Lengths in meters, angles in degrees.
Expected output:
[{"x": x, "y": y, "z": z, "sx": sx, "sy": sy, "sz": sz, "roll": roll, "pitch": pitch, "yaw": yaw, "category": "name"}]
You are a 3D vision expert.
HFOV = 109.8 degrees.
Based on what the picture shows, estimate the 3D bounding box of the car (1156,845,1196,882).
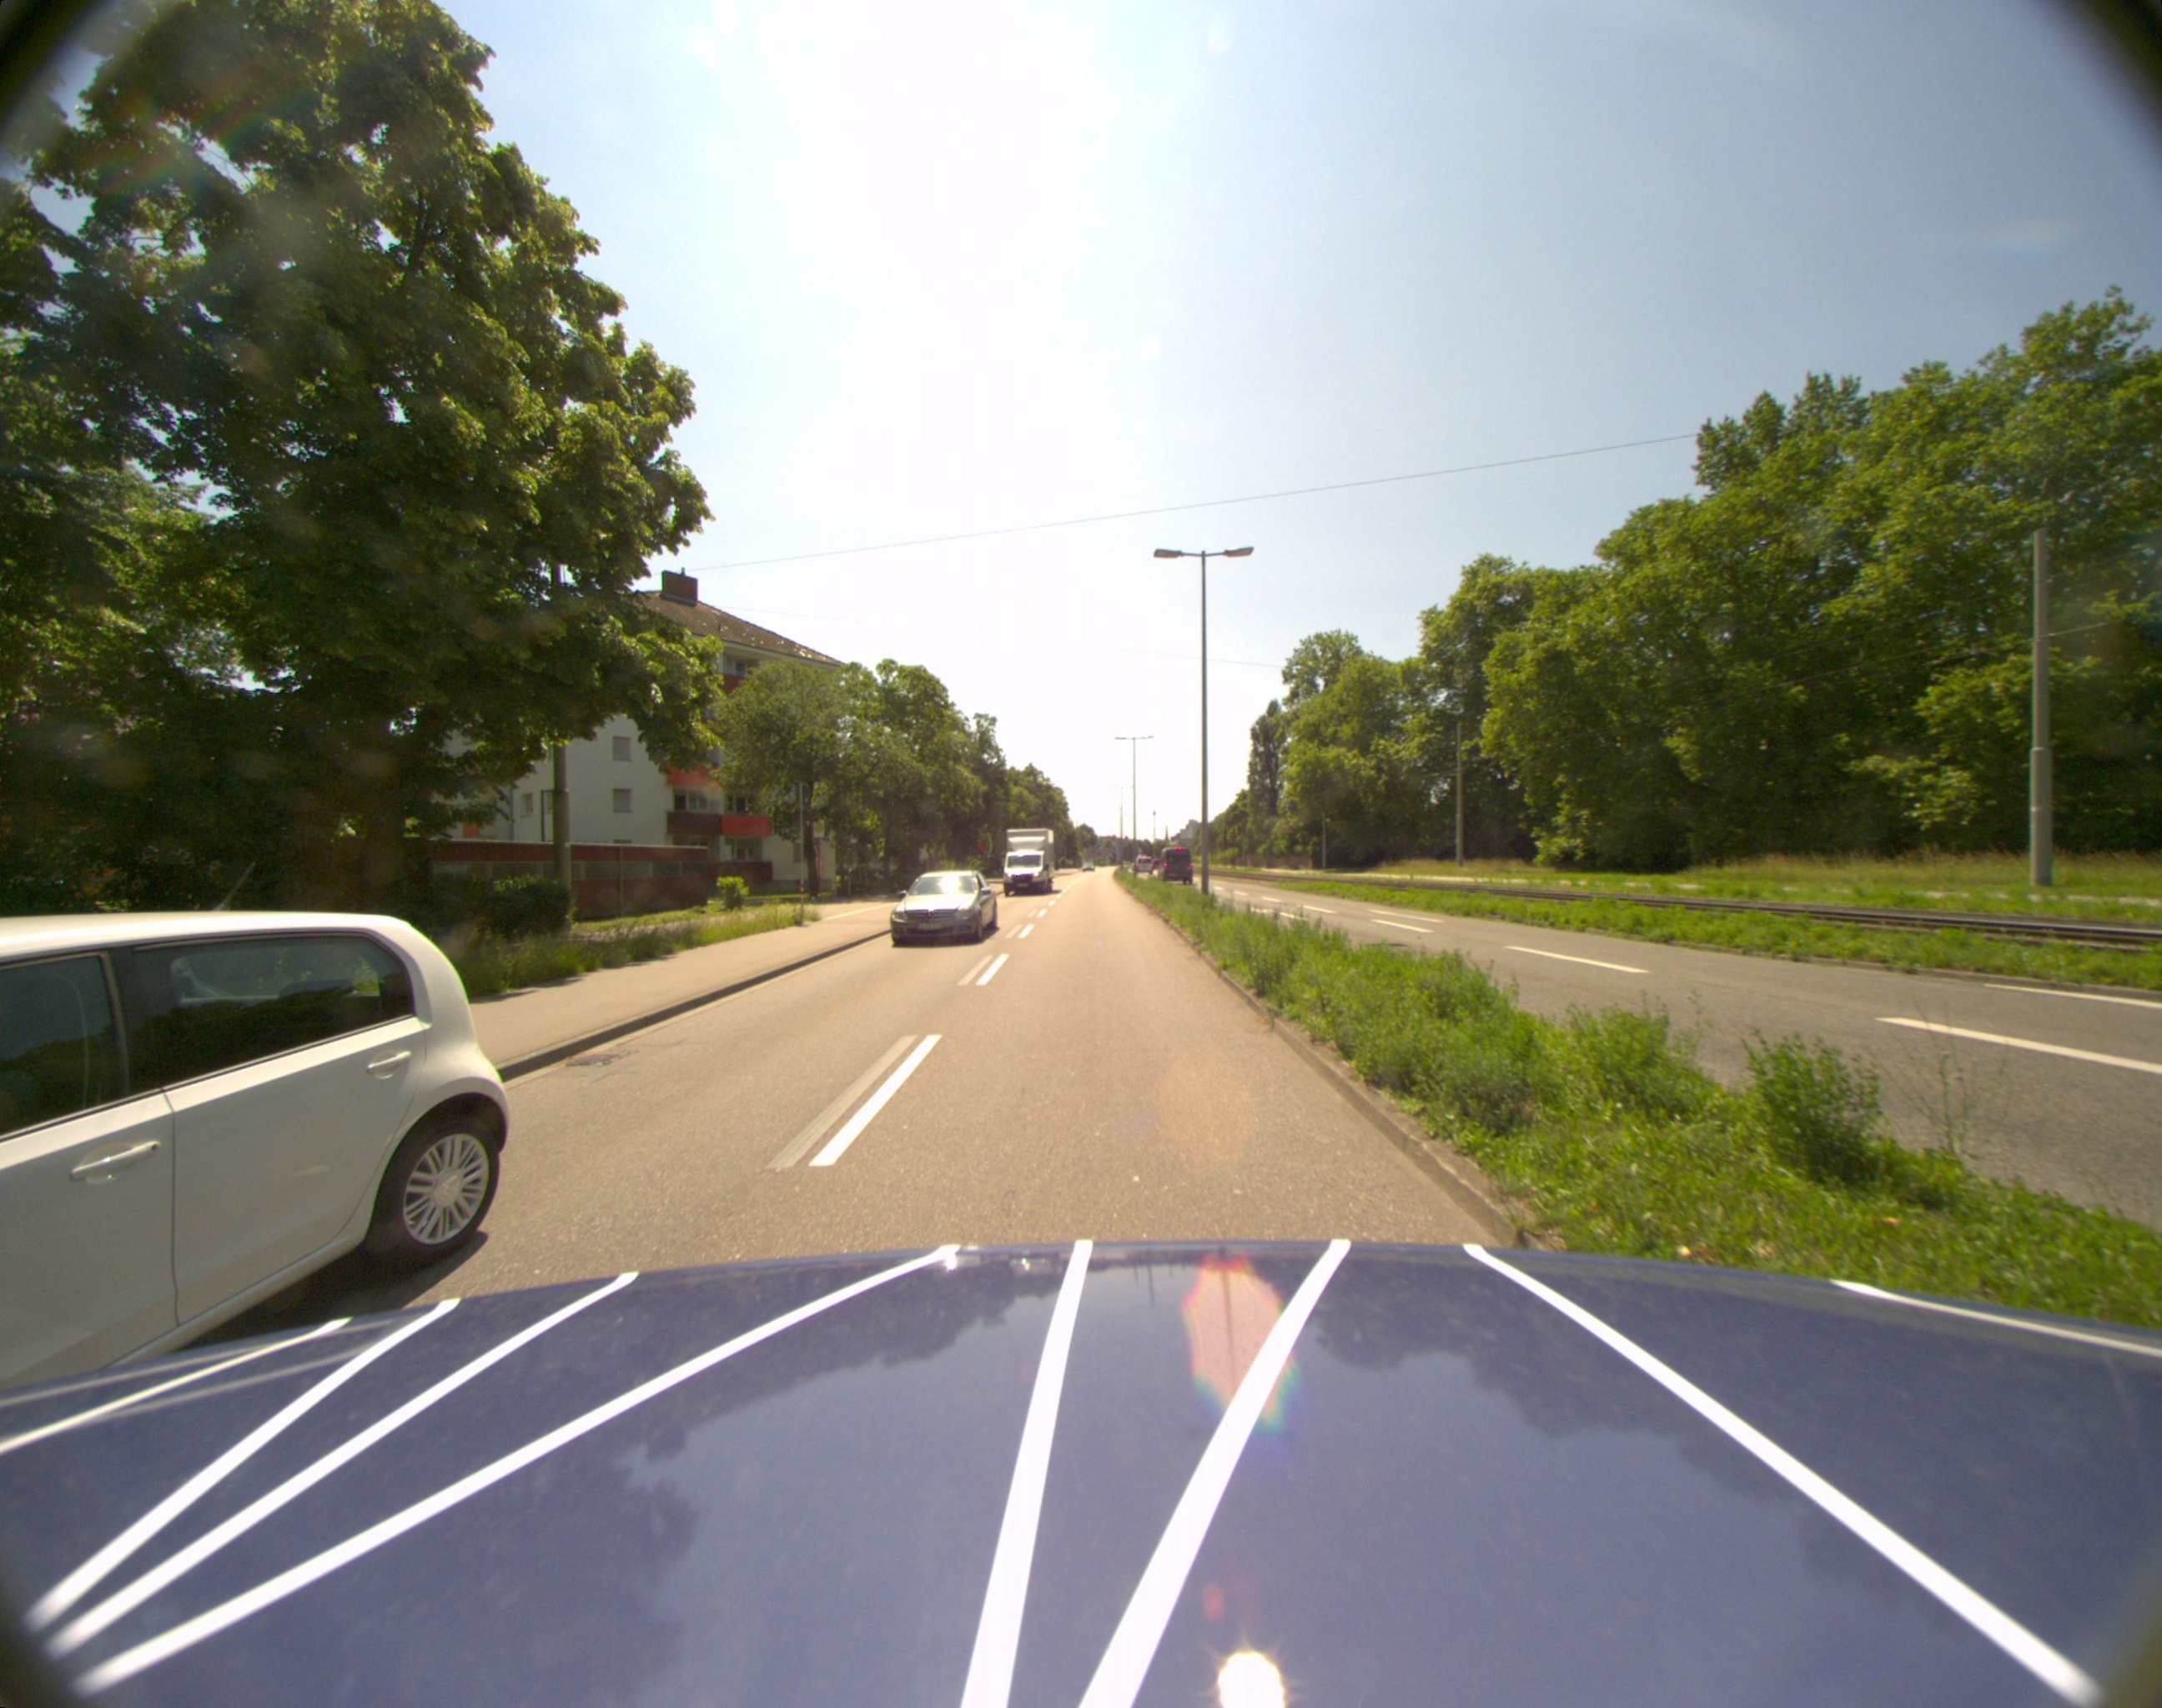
[{"x": 6.243, "y": 0.602, "z": 50.562, "sx": 1.999, "sy": 2.352, "sz": 5.372, "roll": 0, "pitch": 0, "yaw": 0, "category": "car"}]

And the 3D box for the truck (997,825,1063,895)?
[{"x": -2.533, "y": 0.294, "z": 40.333, "sx": 2.294, "sy": 3.259, "sz": 8.314, "roll": -1, "pitch": 0, "yaw": 4, "category": "truck"}]

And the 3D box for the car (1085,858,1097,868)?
[{"x": 1.609, "y": 1.441, "z": 121.013, "sx": 1.829, "sy": 1.556, "sz": 4.000, "roll": -1, "pitch": 0, "yaw": 0, "category": "car"}]

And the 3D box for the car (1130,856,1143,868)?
[{"x": 8.248, "y": 1.156, "z": 112.548, "sx": 1.833, "sy": 1.728, "sz": 4.039, "roll": 1, "pitch": 0, "yaw": 6, "category": "car"}]

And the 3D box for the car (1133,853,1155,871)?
[{"x": 7.044, "y": 0.851, "z": 85.327, "sx": 1.835, "sy": 1.895, "sz": 5.565, "roll": 1, "pitch": 0, "yaw": -1, "category": "car"}]

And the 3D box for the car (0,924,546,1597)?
[{"x": -3.436, "y": 1.081, "z": 1.748, "sx": 1.663, "sy": 1.441, "sz": 3.854, "roll": -2, "pitch": 0, "yaw": -1, "category": "car"}]

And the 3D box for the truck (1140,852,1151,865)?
[{"x": 13.862, "y": 0.929, "z": 163.762, "sx": 2.086, "sy": 2.732, "sz": 5.548, "roll": 0, "pitch": 0, "yaw": 3, "category": "truck"}]

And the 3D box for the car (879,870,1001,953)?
[{"x": -2.929, "y": 1.158, "z": 16.648, "sx": 1.903, "sy": 1.451, "sz": 3.971, "roll": -2, "pitch": 0, "yaw": 0, "category": "car"}]

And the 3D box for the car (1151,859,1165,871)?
[{"x": 12.424, "y": 1.750, "z": 122.735, "sx": 1.834, "sy": 1.791, "sz": 4.615, "roll": 1, "pitch": 0, "yaw": 2, "category": "car"}]
